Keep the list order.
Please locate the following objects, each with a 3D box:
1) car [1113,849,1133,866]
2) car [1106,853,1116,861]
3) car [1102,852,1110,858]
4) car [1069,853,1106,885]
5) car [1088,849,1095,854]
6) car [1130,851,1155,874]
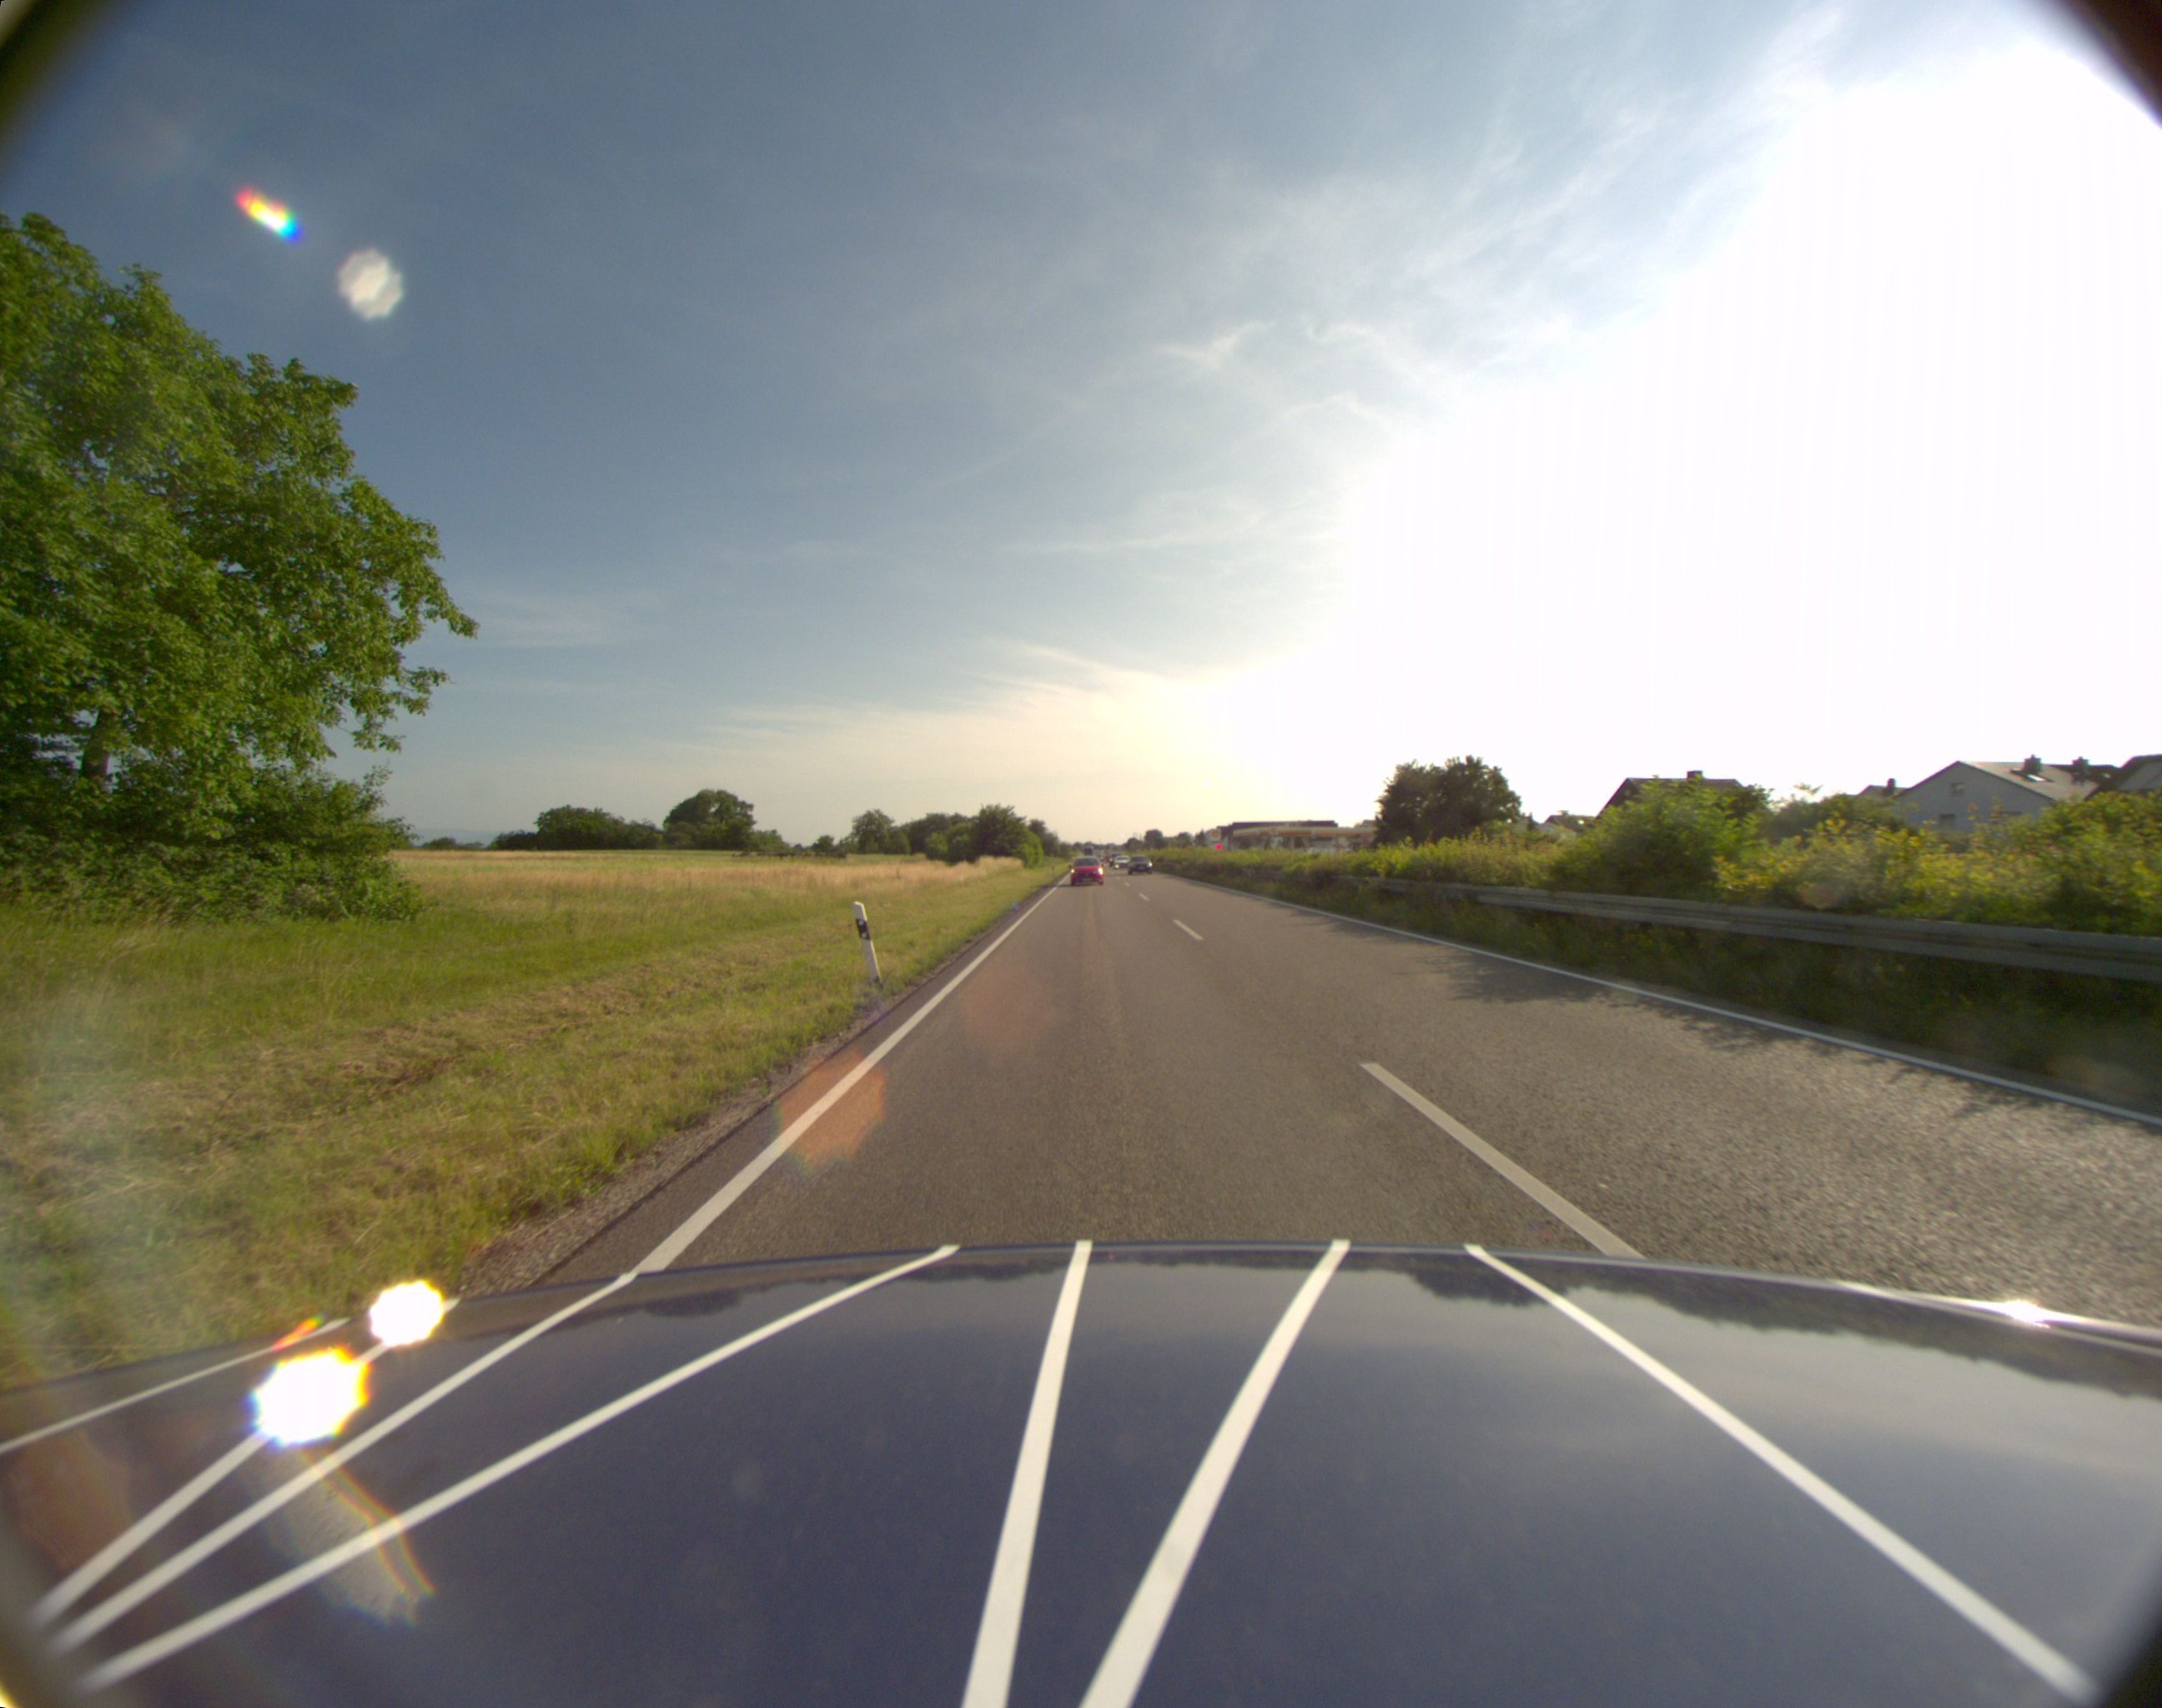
[{"bbox_3d":[4.570,0.334,82.981,1.998,1.762,4.000,-2,1,2],"label":"car"},{"bbox_3d":[6.163,0.574,156.048,1.998,1.412,4.000,-2,0,2],"label":"car"},{"bbox_3d":[6.098,0.208,184.918,1.998,1.412,4.000,-2,0,2],"label":"car"},{"bbox_3d":[0.415,0.779,40.815,1.821,1.565,4.000,-2,1,2],"label":"car"},{"bbox_3d":[2.976,-0.789,215.568,1.998,1.412,4.000,-2,0,2],"label":"car"},{"bbox_3d":[4.692,0.635,58.512,1.693,1.695,4.000,-2,1,2],"label":"car"}]
